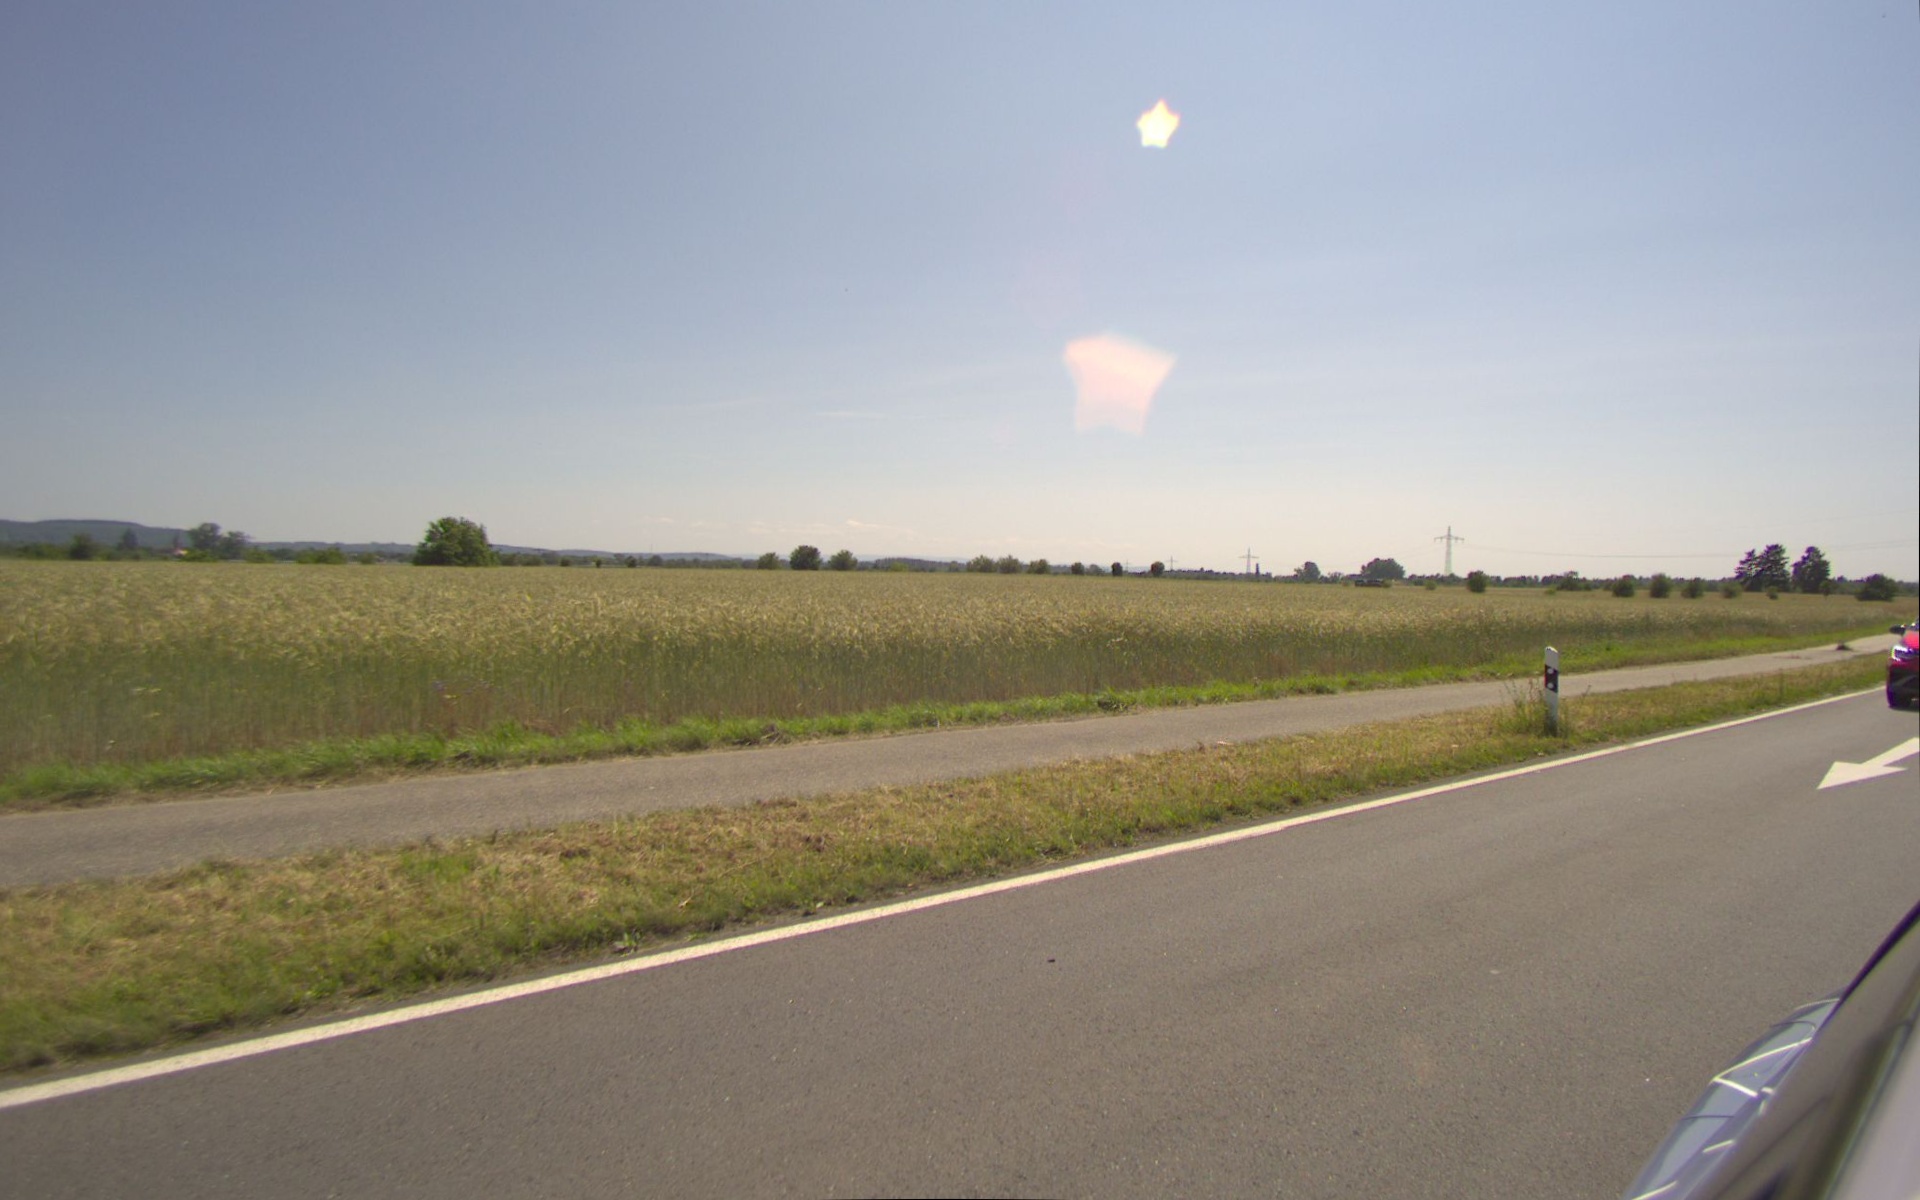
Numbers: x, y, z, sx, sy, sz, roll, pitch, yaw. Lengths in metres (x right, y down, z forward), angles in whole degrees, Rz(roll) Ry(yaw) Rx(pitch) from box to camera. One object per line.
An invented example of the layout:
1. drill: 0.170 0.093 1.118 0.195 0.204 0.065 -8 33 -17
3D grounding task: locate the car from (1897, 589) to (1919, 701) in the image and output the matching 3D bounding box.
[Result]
1. car: 15.516 0.622 15.071 4.371 1.572 1.825 0 0 -41
